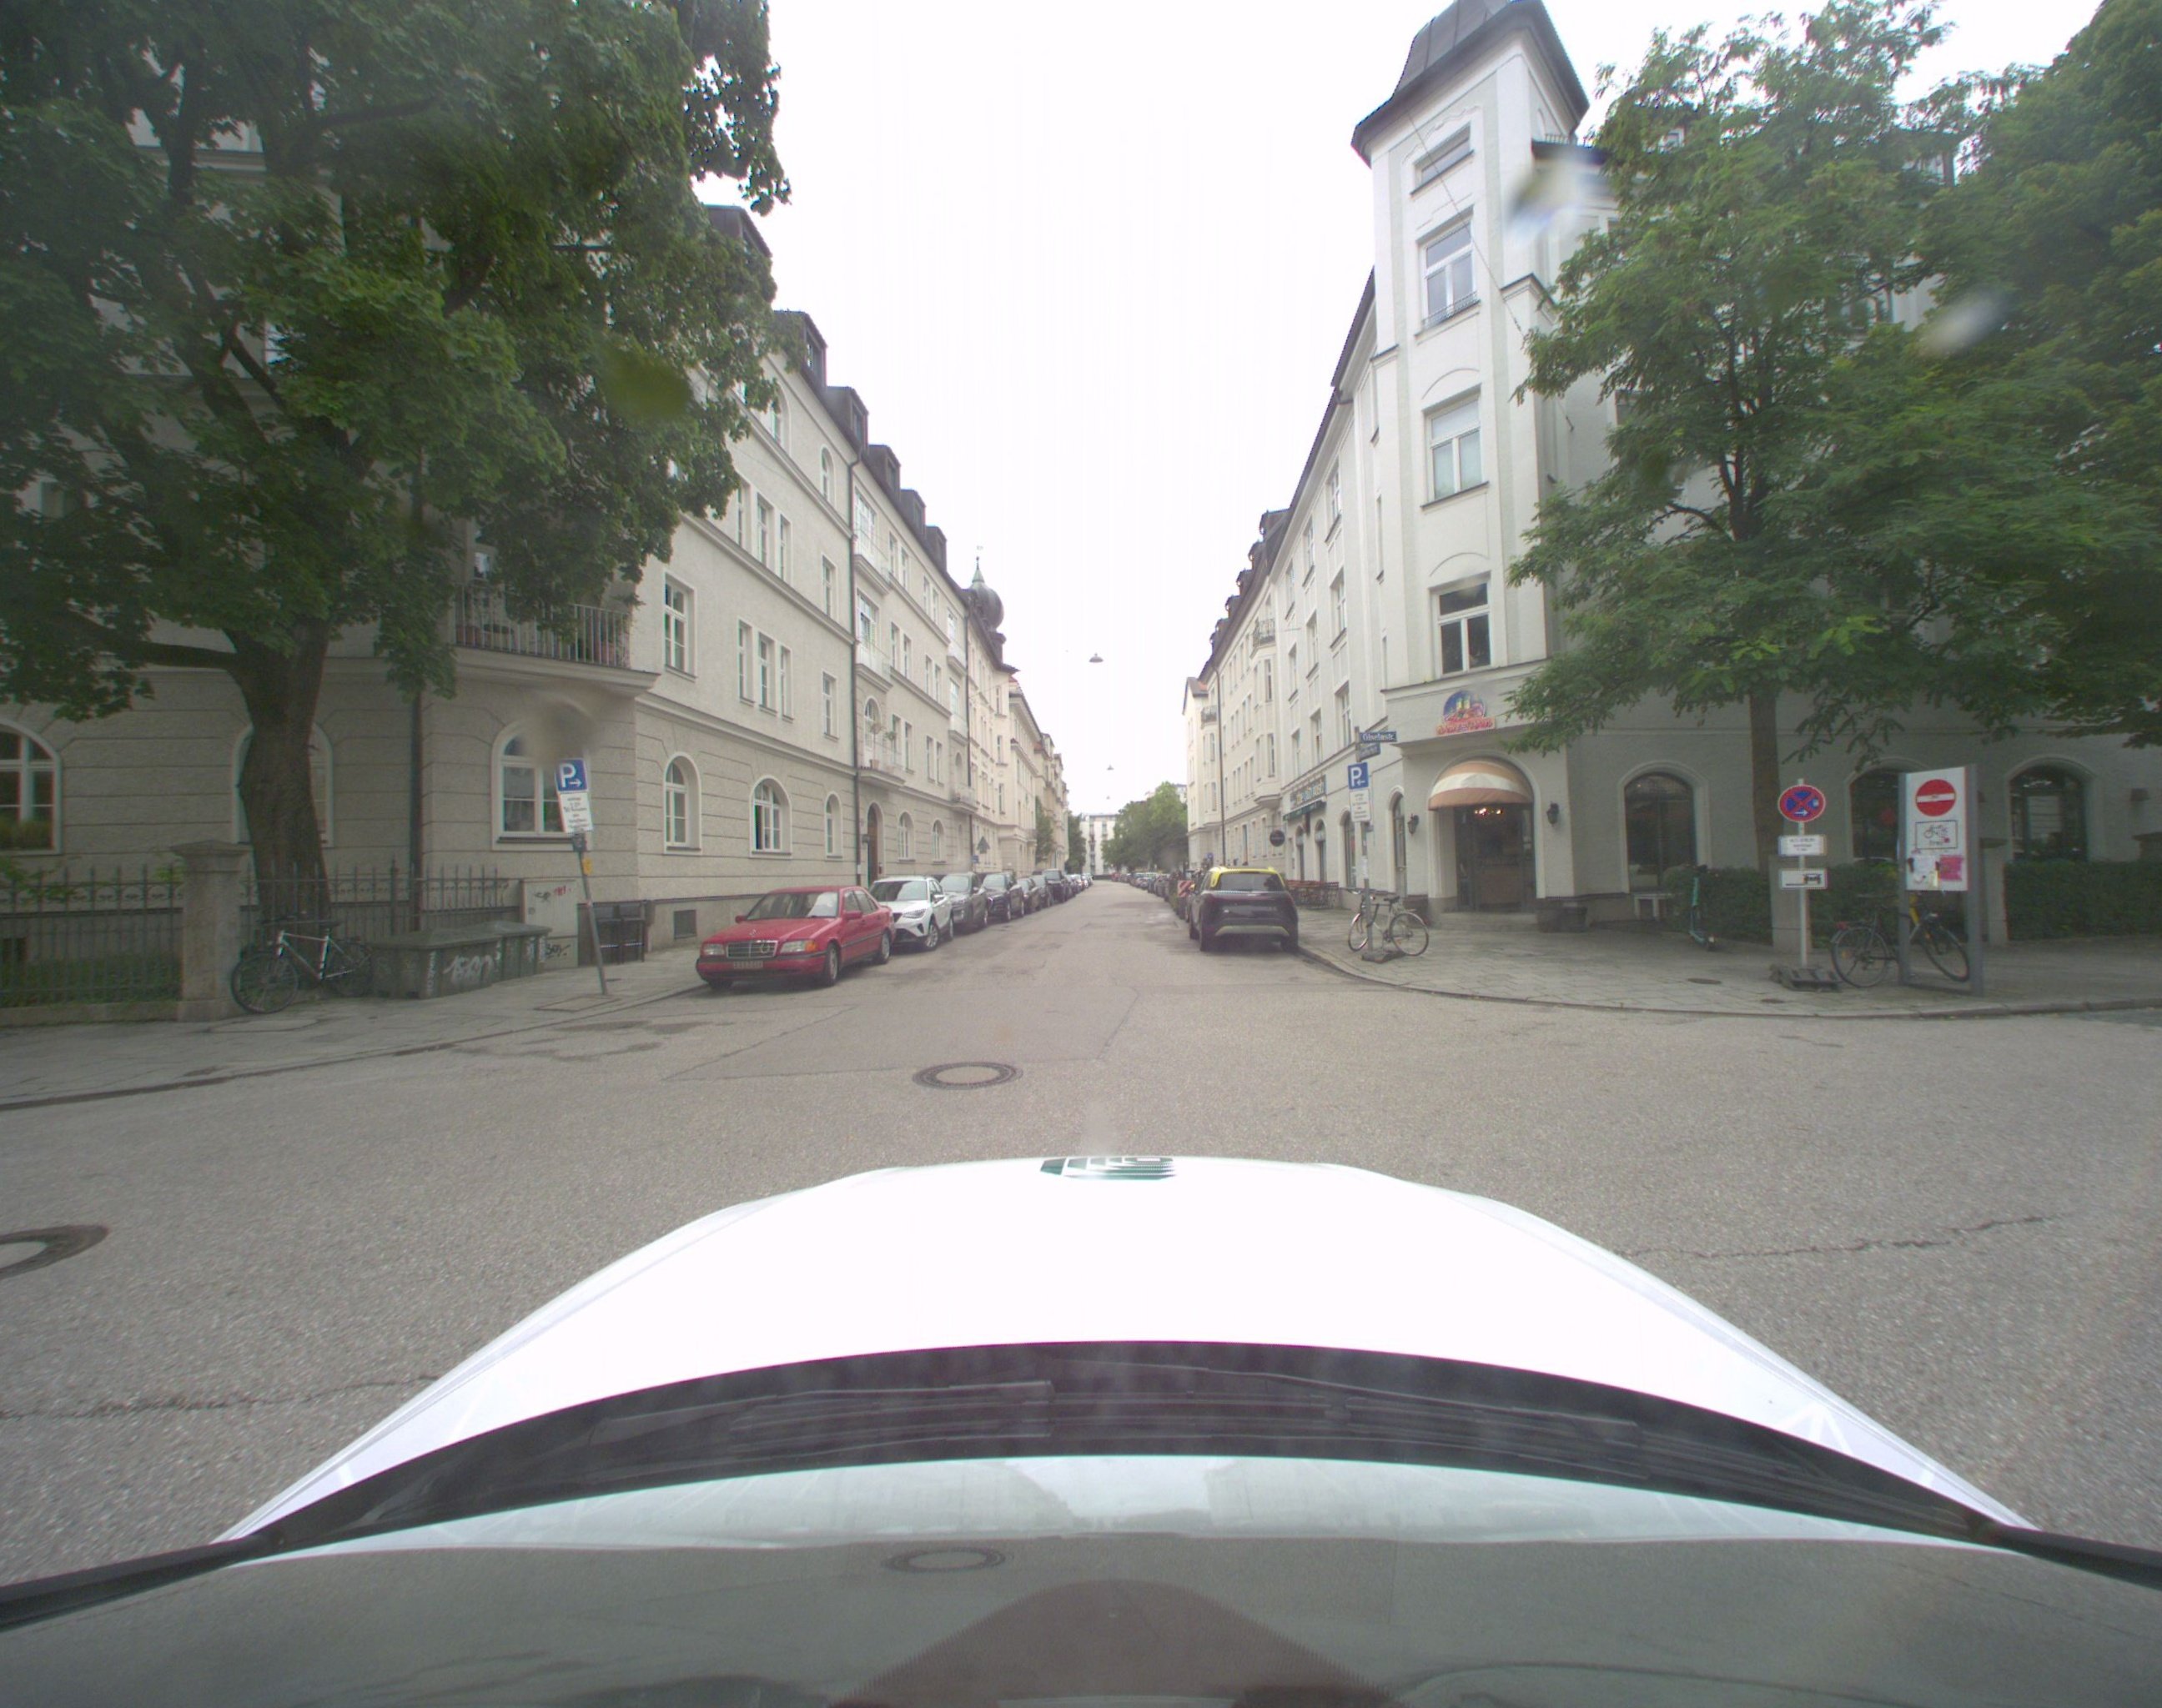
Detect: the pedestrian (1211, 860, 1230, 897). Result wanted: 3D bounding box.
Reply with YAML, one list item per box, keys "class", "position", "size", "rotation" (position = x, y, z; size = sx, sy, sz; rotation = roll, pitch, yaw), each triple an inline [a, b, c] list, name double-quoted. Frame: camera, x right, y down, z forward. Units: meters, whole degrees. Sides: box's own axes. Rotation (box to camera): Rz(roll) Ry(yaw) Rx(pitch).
- class: "pedestrian"
  position: [7.025, 1.227, 41.057]
  size: [0.775, 1.851, 1.024]
  rotation: [-2, -1, 4]

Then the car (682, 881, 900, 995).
- class: "car"
  position: [-4.231, 1.153, 12.666]
  size: [1.724, 1.378, 4.228]
  rotation: [-2, -1, 2]

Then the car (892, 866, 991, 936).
- class: "car"
  position: [-3.718, 1.218, 22.442]
  size: [1.987, 1.676, 4.011]
  rotation: [-2, -1, 0]

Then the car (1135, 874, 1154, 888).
- class: "car"
  position: [6.688, 2.806, 85.740]
  size: [1.724, 1.418, 3.852]
  rotation: [-2, -1, 1]

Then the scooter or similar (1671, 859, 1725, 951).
- class: "scooter or similar"
  position: [9.347, 0.742, 12.362]
  size: [0.423, 1.279, 1.287]
  rotation: [-2, 0, 28]

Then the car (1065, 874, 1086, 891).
- class: "car"
  position: [-0.479, 2.588, 73.447]
  size: [1.728, 1.420, 3.999]
  rotation: [-2, -1, 0]

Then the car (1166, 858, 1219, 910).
- class: "car"
  position: [4.410, 1.169, 32.714]
  size: [1.812, 1.924, 4.187]
  rotation: [0, -1, 3]

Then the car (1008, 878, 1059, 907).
- class: "car"
  position: [-2.226, 1.822, 39.398]
  size: [1.898, 1.222, 4.004]
  rotation: [-2, -1, 4]

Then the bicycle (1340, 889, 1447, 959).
- class: "bicycle"
  position: [5.008, 1.091, 13.173]
  size: [0.541, 0.999, 1.743]
  rotation: [-5, 0, -20]

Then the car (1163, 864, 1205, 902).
- class: "car"
  position: [5.133, 1.408, 40.941]
  size: [1.812, 1.787, 4.187]
  rotation: [0, -1, 3]

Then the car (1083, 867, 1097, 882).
- class: "car"
  position: [1.256, 2.844, 112.478]
  size: [1.839, 2.014, 4.001]
  rotation: [-2, -1, 2]

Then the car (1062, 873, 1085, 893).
- class: "car"
  position: [-0.600, 2.351, 67.490]
  size: [1.814, 1.574, 4.000]
  rotation: [-2, -1, 1]

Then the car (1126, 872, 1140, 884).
- class: "car"
  position: [8.296, 3.843, 130.565]
  size: [1.943, 1.652, 4.000]
  rotation: [-3, -1, 1]

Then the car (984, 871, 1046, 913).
- class: "car"
  position: [-2.635, 1.511, 33.457]
  size: [1.917, 1.546, 4.004]
  rotation: [-1, -1, 4]

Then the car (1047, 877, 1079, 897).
- class: "car"
  position: [-1.192, 2.221, 55.918]
  size: [1.899, 1.222, 4.002]
  rotation: [-2, -1, 2]

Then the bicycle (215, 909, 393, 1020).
- class: "bicycle"
  position: [-9.270, 1.276, 9.829]
  size: [0.492, 1.052, 1.824]
  rotation: [-1, 1, -5]

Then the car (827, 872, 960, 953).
- class: "car"
  position: [-3.876, 1.164, 17.587]
  size: [1.988, 1.473, 4.215]
  rotation: [-2, -1, -2]

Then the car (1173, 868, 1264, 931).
- class: "car"
  position: [3.576, 1.147, 21.959]
  size: [1.968, 1.498, 4.641]
  rotation: [0, -1, 3]

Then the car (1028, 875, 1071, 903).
- class: "car"
  position: [-1.654, 1.860, 44.130]
  size: [1.898, 1.329, 4.004]
  rotation: [-2, -1, 4]

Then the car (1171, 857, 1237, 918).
- class: "car"
  position: [4.016, 1.068, 27.109]
  size: [1.812, 1.871, 4.292]
  rotation: [0, -1, 3]

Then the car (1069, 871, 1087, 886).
- class: "car"
  position: [-0.335, 2.832, 94.346]
  size: [1.987, 1.574, 4.000]
  rotation: [-2, -1, 1]

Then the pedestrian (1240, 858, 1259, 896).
- class: "pedestrian"
  position: [8.384, 1.144, 40.552]
  size: [0.775, 1.851, 1.024]
  rotation: [-2, -1, 4]

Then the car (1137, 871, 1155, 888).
- class: "car"
  position: [8.251, 3.247, 103.767]
  size: [1.986, 1.982, 4.894]
  rotation: [-1, -1, 2]

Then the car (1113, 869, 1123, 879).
- class: "car"
  position: [8.218, 4.468, 181.644]
  size: [1.987, 1.982, 4.891]
  rotation: [-1, -1, 0]

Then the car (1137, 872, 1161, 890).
- class: "car"
  position: [6.261, 2.495, 75.018]
  size: [1.900, 1.576, 4.000]
  rotation: [-2, -1, 1]

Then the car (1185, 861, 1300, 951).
- class: "car"
  position: [3.212, 0.986, 16.966]
  size: [1.812, 1.636, 4.292]
  rotation: [0, -1, 3]

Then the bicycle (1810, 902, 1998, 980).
- class: "bicycle"
  position: [9.290, 0.983, 9.243]
  size: [1.404, 0.783, 0.546]
  rotation: [-3, -2, 11]

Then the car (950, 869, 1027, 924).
- class: "car"
  position: [-3.016, 1.367, 27.481]
  size: [1.986, 1.676, 4.289]
  rotation: [-2, -1, 1]

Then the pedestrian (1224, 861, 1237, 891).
- class: "pedestrian"
  position: [9.443, 1.362, 51.494]
  size: [0.773, 1.851, 0.862]
  rotation: [-2, -1, 11]

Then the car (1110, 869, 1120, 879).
- class: "car"
  position: [7.115, 4.247, 170.339]
  size: [1.987, 1.982, 4.891]
  rotation: [-1, -1, 0]

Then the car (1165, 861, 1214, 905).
- class: "car"
  position: [4.808, 1.269, 36.713]
  size: [1.984, 1.857, 4.351]
  rotation: [-1, -1, 5]
